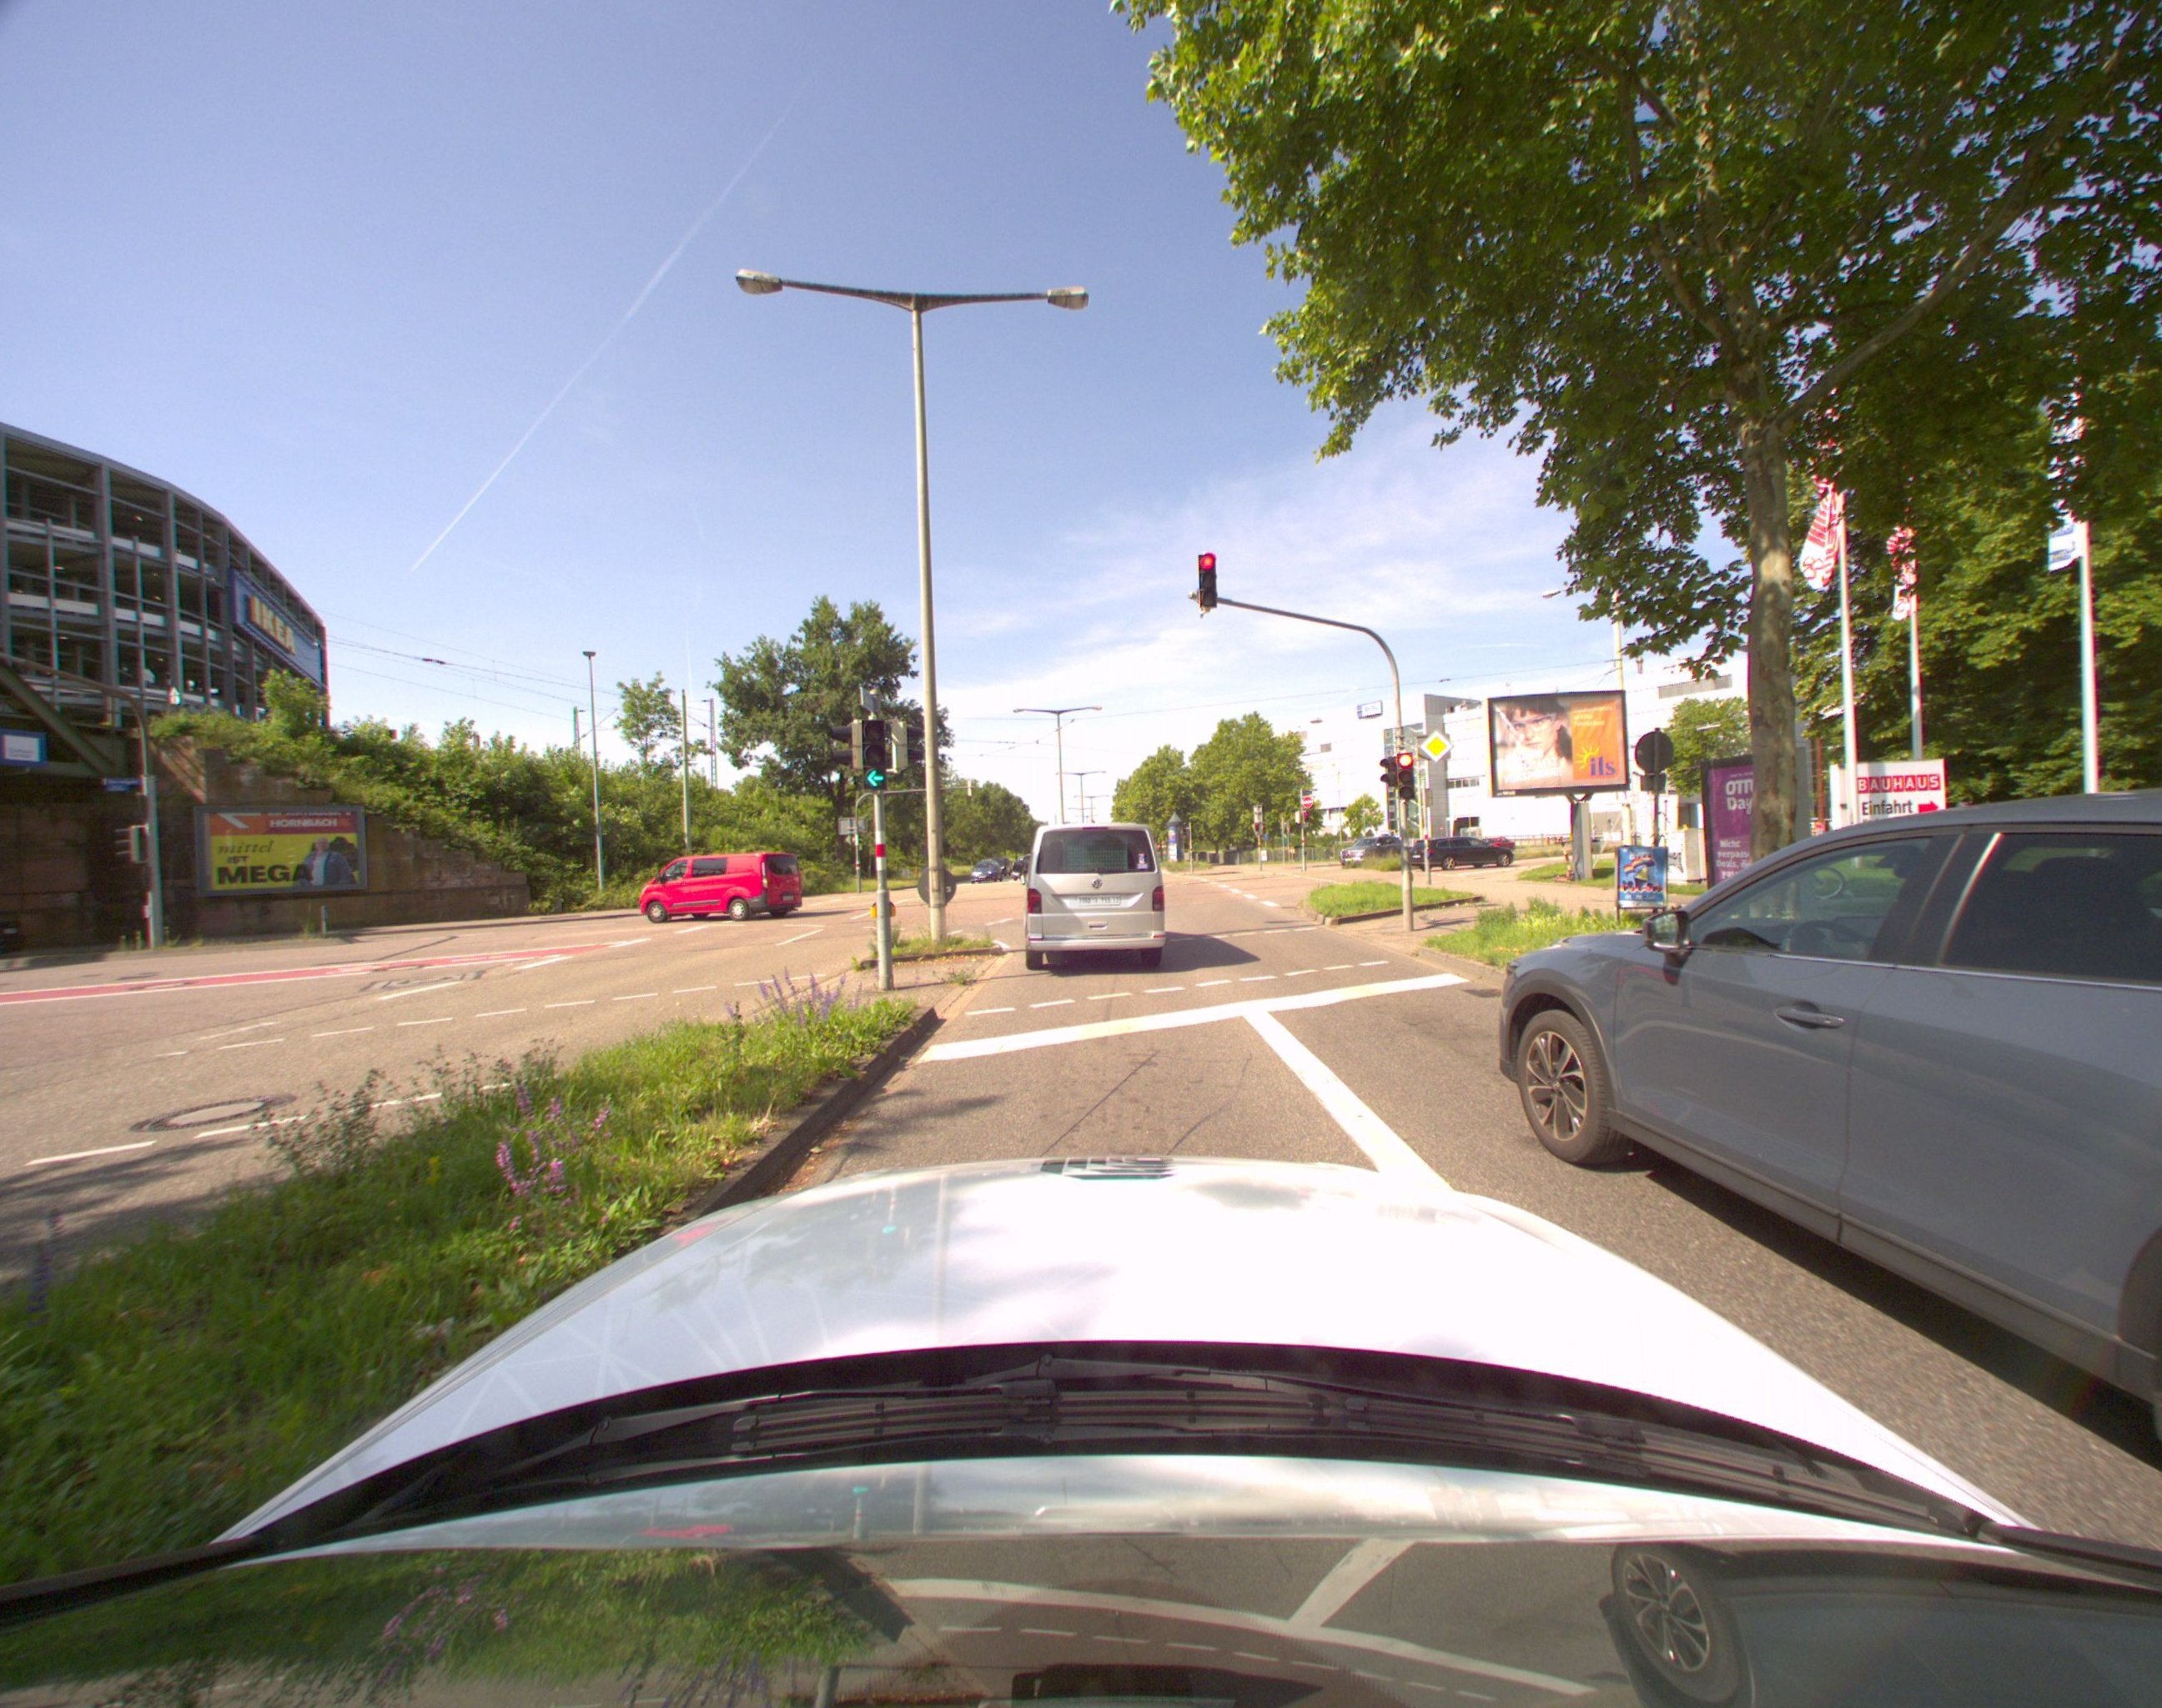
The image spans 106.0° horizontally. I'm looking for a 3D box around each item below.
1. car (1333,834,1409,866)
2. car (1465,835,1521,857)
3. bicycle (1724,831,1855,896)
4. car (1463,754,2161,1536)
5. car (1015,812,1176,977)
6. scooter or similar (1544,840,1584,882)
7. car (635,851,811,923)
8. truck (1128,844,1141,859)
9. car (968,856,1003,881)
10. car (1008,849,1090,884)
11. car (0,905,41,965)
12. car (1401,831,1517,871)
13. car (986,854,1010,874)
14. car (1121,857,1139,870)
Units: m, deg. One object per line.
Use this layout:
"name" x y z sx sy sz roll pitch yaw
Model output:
"car" 17.505 -0.230 49.109 4.646 1.689 1.895 -3 0 -35
"car" 31.426 -0.593 62.012 4.646 1.444 1.762 -3 0 -35
"bicycle" 13.583 0.186 15.663 1.771 1.108 0.506 -4 -1 20
"car" 3.186 0.611 2.734 1.759 1.659 4.497 -1 0 1
"car" 0.034 0.506 12.561 1.938 1.971 5.015 -2 0 -4
"scooter or similar" 13.502 0.178 22.802 0.423 1.126 1.124 -3 0 1
"car" -10.695 0.973 24.399 4.510 1.924 1.984 -3 0 17
"truck" 16.388 -0.791 248.555 3.176 4.355 13.165 -3 0 5
"car" -6.505 0.982 55.607 1.844 1.561 3.999 -3 0 0
"car" -1.658 0.665 41.209 1.824 1.605 4.327 -3 0 -40
"car" -28.271 2.074 19.144 4.343 1.397 1.773 -2 0 -35
"car" 16.661 -0.133 35.992 4.381 1.510 1.844 -3 0 -11
"car" -8.009 0.994 79.238 1.844 1.814 3.999 -3 0 0
"car" 4.848 0.926 80.776 1.636 1.236 3.255 -3 0 3
